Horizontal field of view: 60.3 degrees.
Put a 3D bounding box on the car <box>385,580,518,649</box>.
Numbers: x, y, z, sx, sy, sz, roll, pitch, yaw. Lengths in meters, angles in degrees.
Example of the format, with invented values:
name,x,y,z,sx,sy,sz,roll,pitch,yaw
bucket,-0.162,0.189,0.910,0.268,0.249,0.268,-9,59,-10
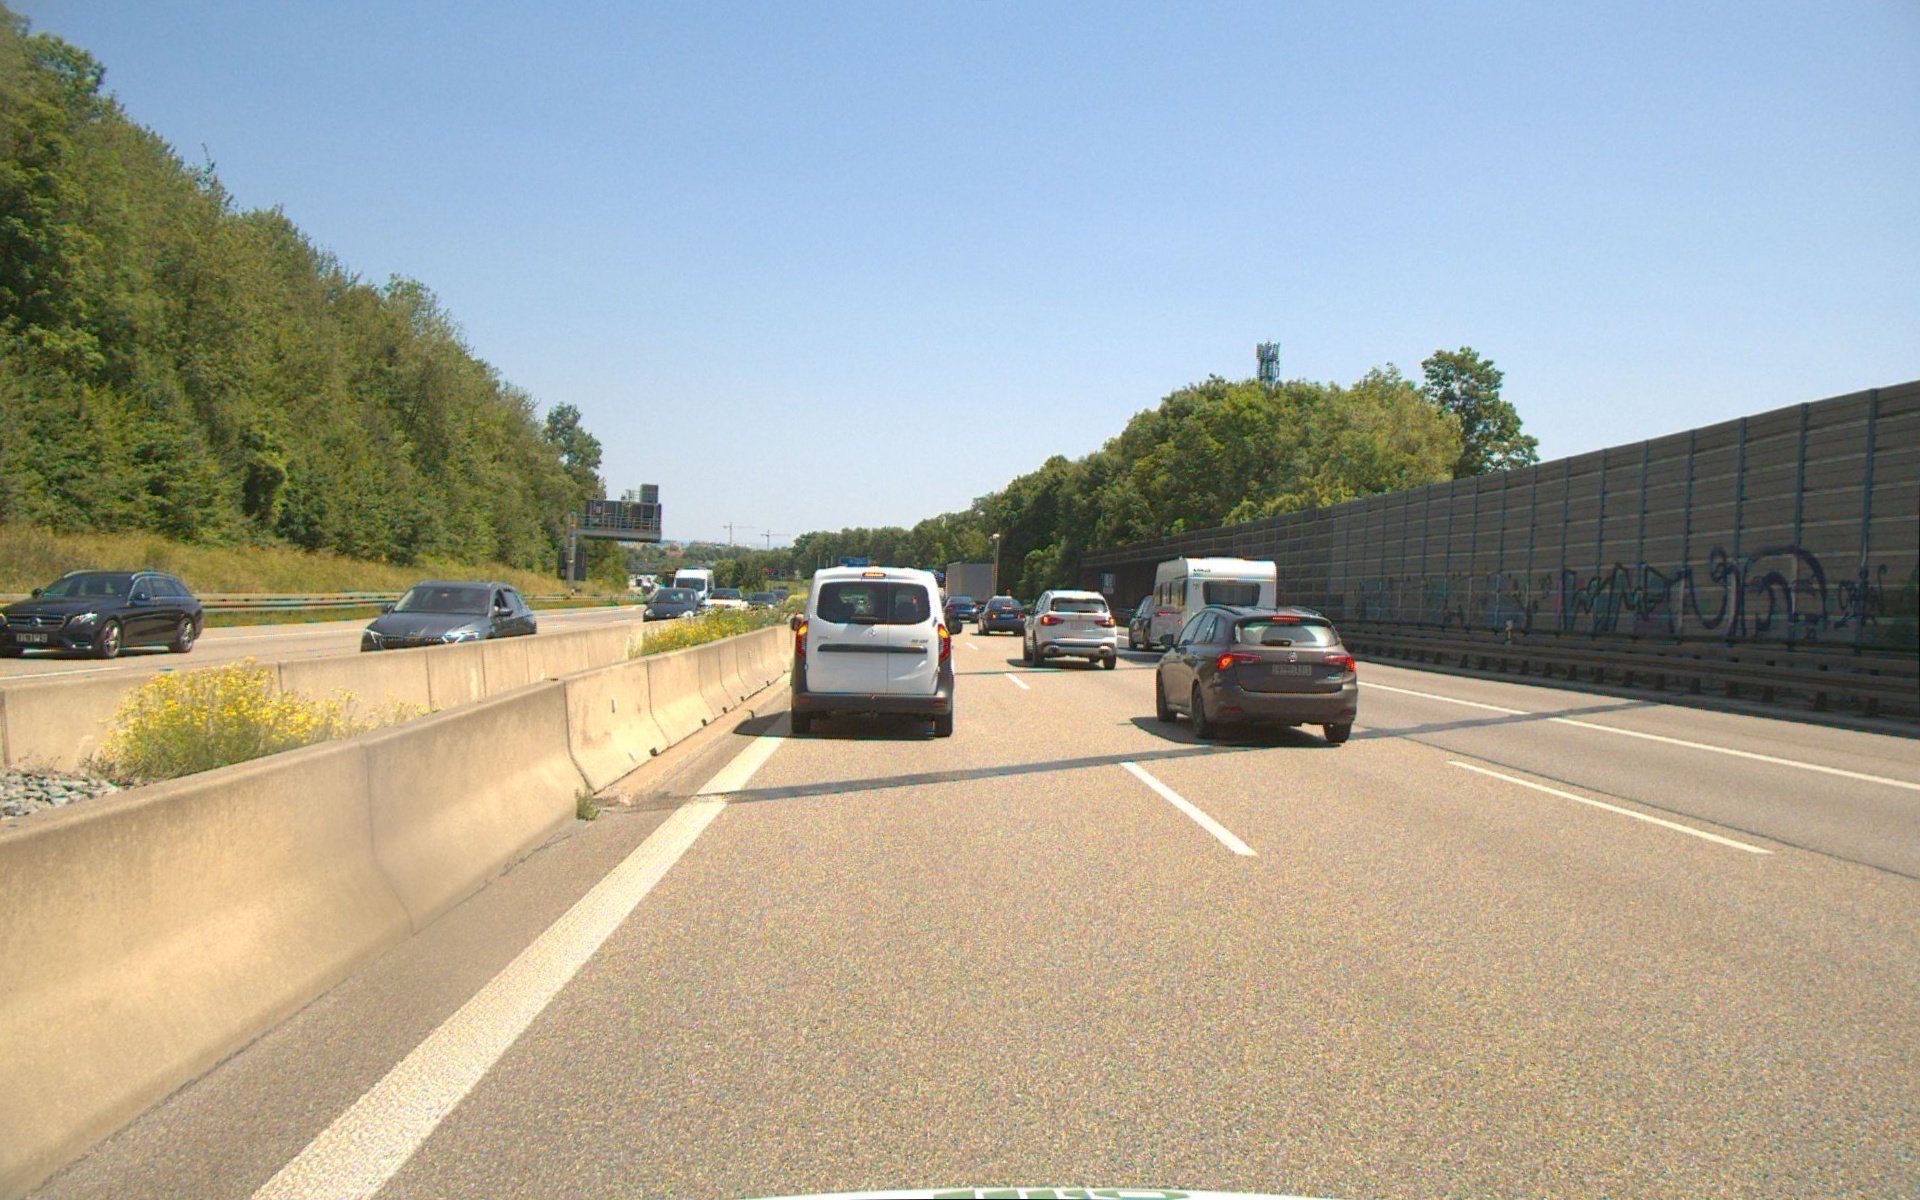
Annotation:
name,x,y,z,sx,sy,sz,roll,pitch,yaw
car,-11.568,0.310,37.914,1.805,1.445,4.232,1,0,-2

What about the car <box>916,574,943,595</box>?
name,x,y,z,sx,sy,sz,roll,pitch,yaw
car,-2.325,-1.160,124.862,1.788,1.472,3.996,1,0,-5

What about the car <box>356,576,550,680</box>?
name,x,y,z,sx,sy,sz,roll,pitch,yaw
car,-7.568,0.386,25.127,1.697,1.430,4.609,0,0,-2

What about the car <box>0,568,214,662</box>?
name,x,y,z,sx,sy,sz,roll,pitch,yaw
car,-15.265,0.237,29.365,1.953,1.507,4.689,1,0,-1

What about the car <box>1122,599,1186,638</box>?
name,x,y,z,sx,sy,sz,roll,pitch,yaw
car,7.430,0.687,63.553,1.787,1.449,3.998,1,0,-3

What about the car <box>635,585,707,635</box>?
name,x,y,z,sx,sy,sz,roll,pitch,yaw
car,-8.948,0.290,51.463,1.631,1.453,3.856,1,0,-2

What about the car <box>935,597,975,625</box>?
name,x,y,z,sx,sy,sz,roll,pitch,yaw
car,-0.291,0.586,88.229,1.788,1.449,3.996,1,0,-5

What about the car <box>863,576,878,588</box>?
name,x,y,z,sx,sy,sz,roll,pitch,yaw
car,-13.027,-2.610,240.725,1.954,1.758,3.996,1,0,-5

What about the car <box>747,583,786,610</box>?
name,x,y,z,sx,sy,sz,roll,pitch,yaw
car,-10.984,-0.198,94.110,1.837,1.435,4.410,1,0,-2

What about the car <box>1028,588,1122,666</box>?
name,x,y,z,sx,sy,sz,roll,pitch,yaw
car,2.579,0.583,37.899,1.833,1.636,3.878,1,0,-1

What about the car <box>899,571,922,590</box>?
name,x,y,z,sx,sy,sz,roll,pitch,yaw
car,-5.339,-2.084,176.947,1.956,2.049,3.992,1,0,-8

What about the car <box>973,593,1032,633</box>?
name,x,y,z,sx,sy,sz,roll,pitch,yaw
car,1.588,0.477,63.169,1.788,1.449,3.996,1,0,-5

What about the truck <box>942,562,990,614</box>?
name,x,y,z,sx,sy,sz,roll,pitch,yaw
truck,0.439,-0.917,135.728,3.022,4.055,9.636,1,0,-5

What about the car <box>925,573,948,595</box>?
name,x,y,z,sx,sy,sz,roll,pitch,yaw
car,-2.306,-1.536,160.179,1.954,2.049,3.996,1,0,-5

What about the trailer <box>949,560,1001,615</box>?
name,x,y,z,sx,sy,sz,roll,pitch,yaw
trailer,1.105,-0.914,127.736,3.022,4.055,10.312,1,0,-5

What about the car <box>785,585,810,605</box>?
name,x,y,z,sx,sy,sz,roll,pitch,yaw
car,-14.430,-0.472,147.085,1.954,1.754,4.354,1,0,-3

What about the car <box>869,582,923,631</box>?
name,x,y,z,sx,sy,sz,roll,pitch,yaw
car,-2.603,0.251,66.138,1.954,1.892,3.996,1,0,-5

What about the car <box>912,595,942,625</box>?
name,x,y,z,sx,sy,sz,roll,pitch,yaw
car,-2.242,0.706,112.786,1.788,2.024,3.996,0,-1,-5

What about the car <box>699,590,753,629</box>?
name,x,y,z,sx,sy,sz,roll,pitch,yaw
car,-9.833,0.367,69.752,1.767,1.553,4.255,1,0,-2

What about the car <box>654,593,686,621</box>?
name,x,y,z,sx,sy,sz,roll,pitch,yaw
car,-22.431,0.530,128.115,1.954,2.049,3.997,1,0,-4

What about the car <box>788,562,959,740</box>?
name,x,y,z,sx,sy,sz,roll,pitch,yaw
car,-0.920,0.527,19.280,1.765,1.839,3.999,1,0,-1

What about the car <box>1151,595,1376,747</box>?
name,x,y,z,sx,sy,sz,roll,pitch,yaw
car,3.471,0.747,19.704,1.801,1.539,4.401,2,0,-1

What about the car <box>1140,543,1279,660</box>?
name,x,y,z,sx,sy,sz,roll,pitch,yaw
car,6.458,0.031,43.627,2.429,2.814,6.216,1,0,-3

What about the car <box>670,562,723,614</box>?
name,x,y,z,sx,sy,sz,roll,pitch,yaw
car,-14.640,-0.640,92.210,2.171,2.748,6.060,1,0,-2
